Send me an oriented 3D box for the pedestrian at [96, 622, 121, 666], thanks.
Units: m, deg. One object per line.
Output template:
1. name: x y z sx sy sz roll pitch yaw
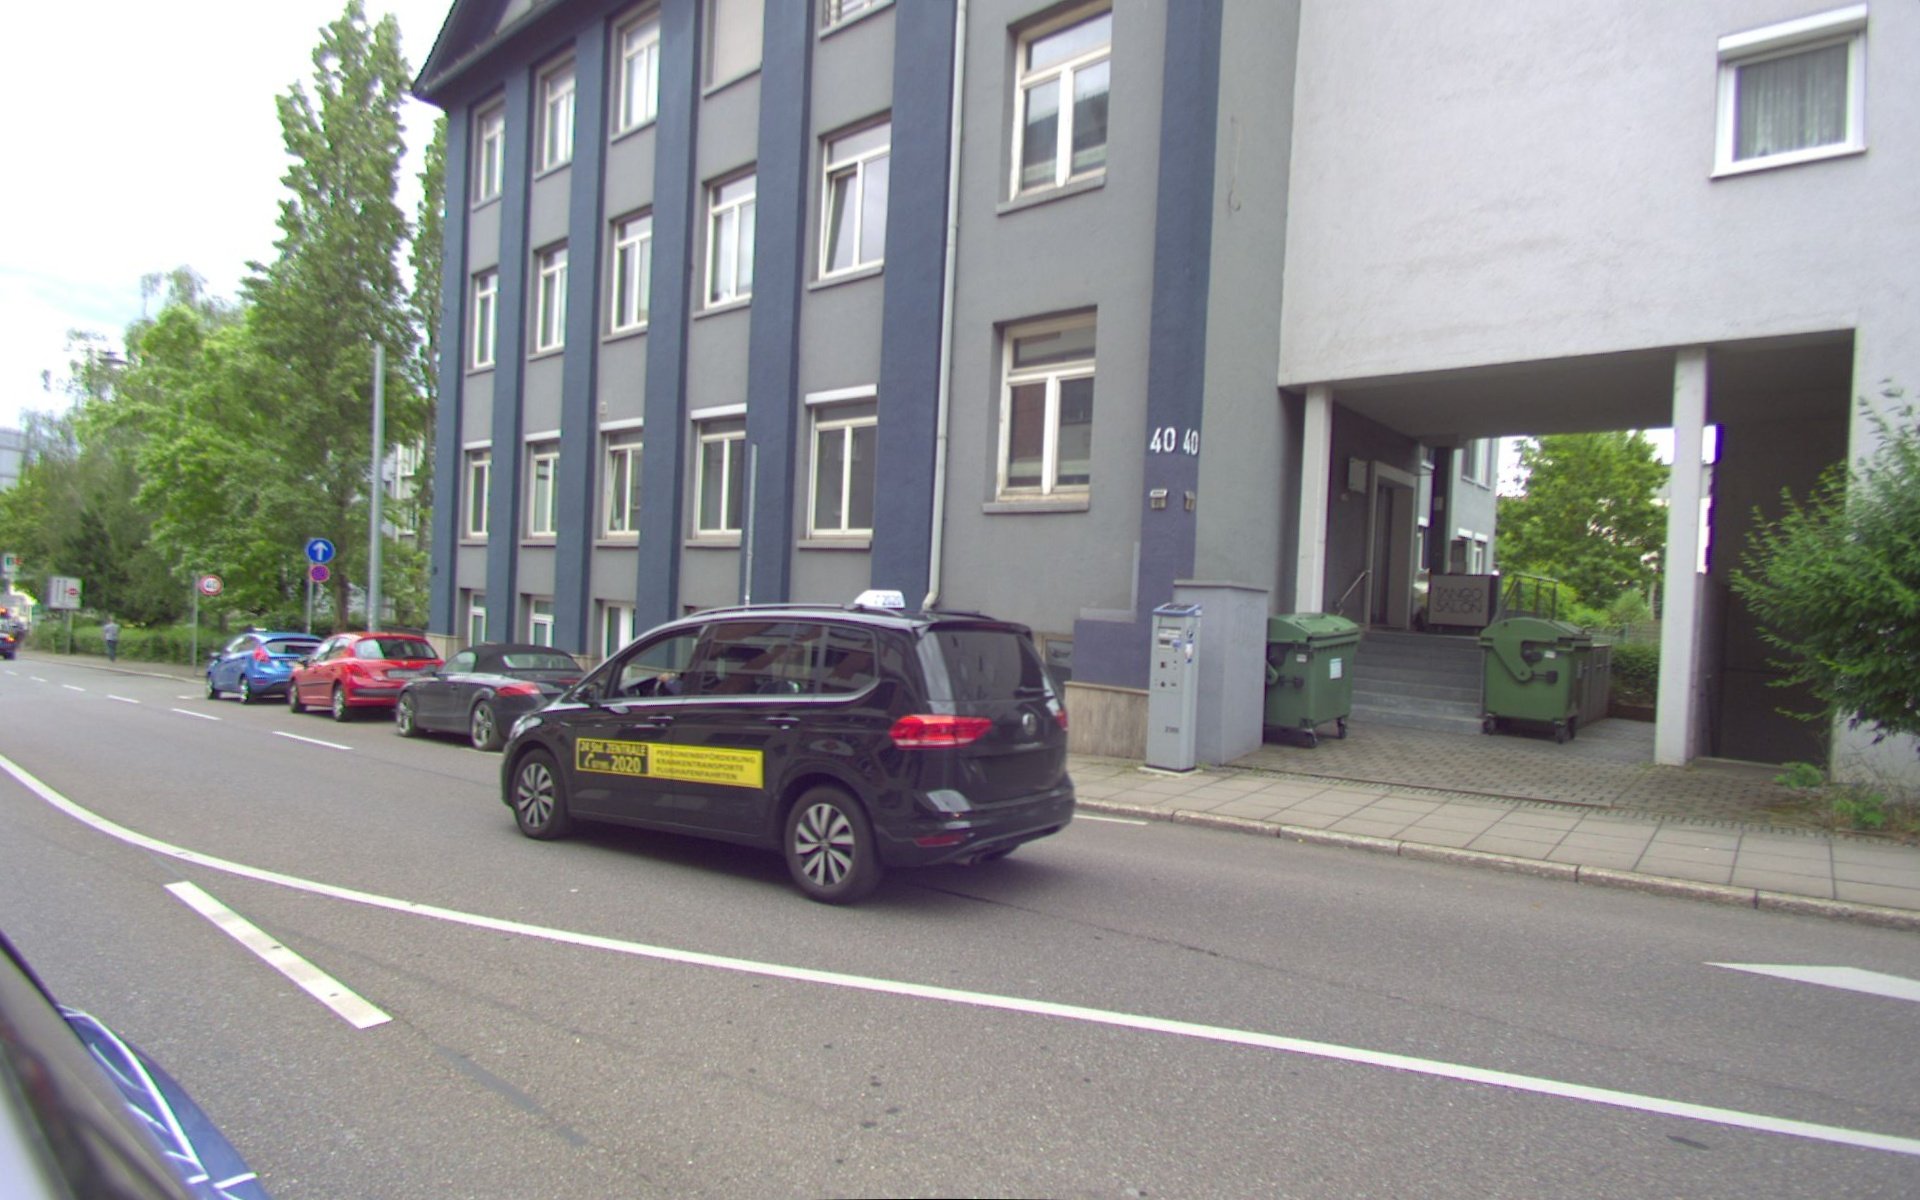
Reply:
1. pedestrian: -36.605 1.899 43.509 0.776 1.864 0.736 -2 -2 42

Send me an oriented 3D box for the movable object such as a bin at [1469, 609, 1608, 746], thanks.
1. movable object such as a bin: 7.066 0.906 12.360 1.190 1.489 1.132 5 1 41

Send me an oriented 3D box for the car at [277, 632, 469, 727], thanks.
1. car: -10.440 1.345 17.904 3.868 1.485 1.796 -2 -5 42

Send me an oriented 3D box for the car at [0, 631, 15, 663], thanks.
1. car: -47.228 2.265 49.079 3.726 1.495 1.701 -2 -4 42

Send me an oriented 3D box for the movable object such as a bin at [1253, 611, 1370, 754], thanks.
1. movable object such as a bin: 3.977 0.876 11.409 0.784 1.467 1.251 0 1 44

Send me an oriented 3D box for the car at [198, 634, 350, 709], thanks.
1. car: -14.646 1.466 21.553 3.724 1.465 1.702 -1 -4 40

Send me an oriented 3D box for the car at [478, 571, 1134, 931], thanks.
1. car: -1.181 0.791 6.820 4.296 1.720 1.768 -1 -4 35

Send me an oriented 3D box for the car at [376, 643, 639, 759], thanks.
1. car: -6.318 1.304 13.941 4.038 1.337 1.702 -2 -5 41
